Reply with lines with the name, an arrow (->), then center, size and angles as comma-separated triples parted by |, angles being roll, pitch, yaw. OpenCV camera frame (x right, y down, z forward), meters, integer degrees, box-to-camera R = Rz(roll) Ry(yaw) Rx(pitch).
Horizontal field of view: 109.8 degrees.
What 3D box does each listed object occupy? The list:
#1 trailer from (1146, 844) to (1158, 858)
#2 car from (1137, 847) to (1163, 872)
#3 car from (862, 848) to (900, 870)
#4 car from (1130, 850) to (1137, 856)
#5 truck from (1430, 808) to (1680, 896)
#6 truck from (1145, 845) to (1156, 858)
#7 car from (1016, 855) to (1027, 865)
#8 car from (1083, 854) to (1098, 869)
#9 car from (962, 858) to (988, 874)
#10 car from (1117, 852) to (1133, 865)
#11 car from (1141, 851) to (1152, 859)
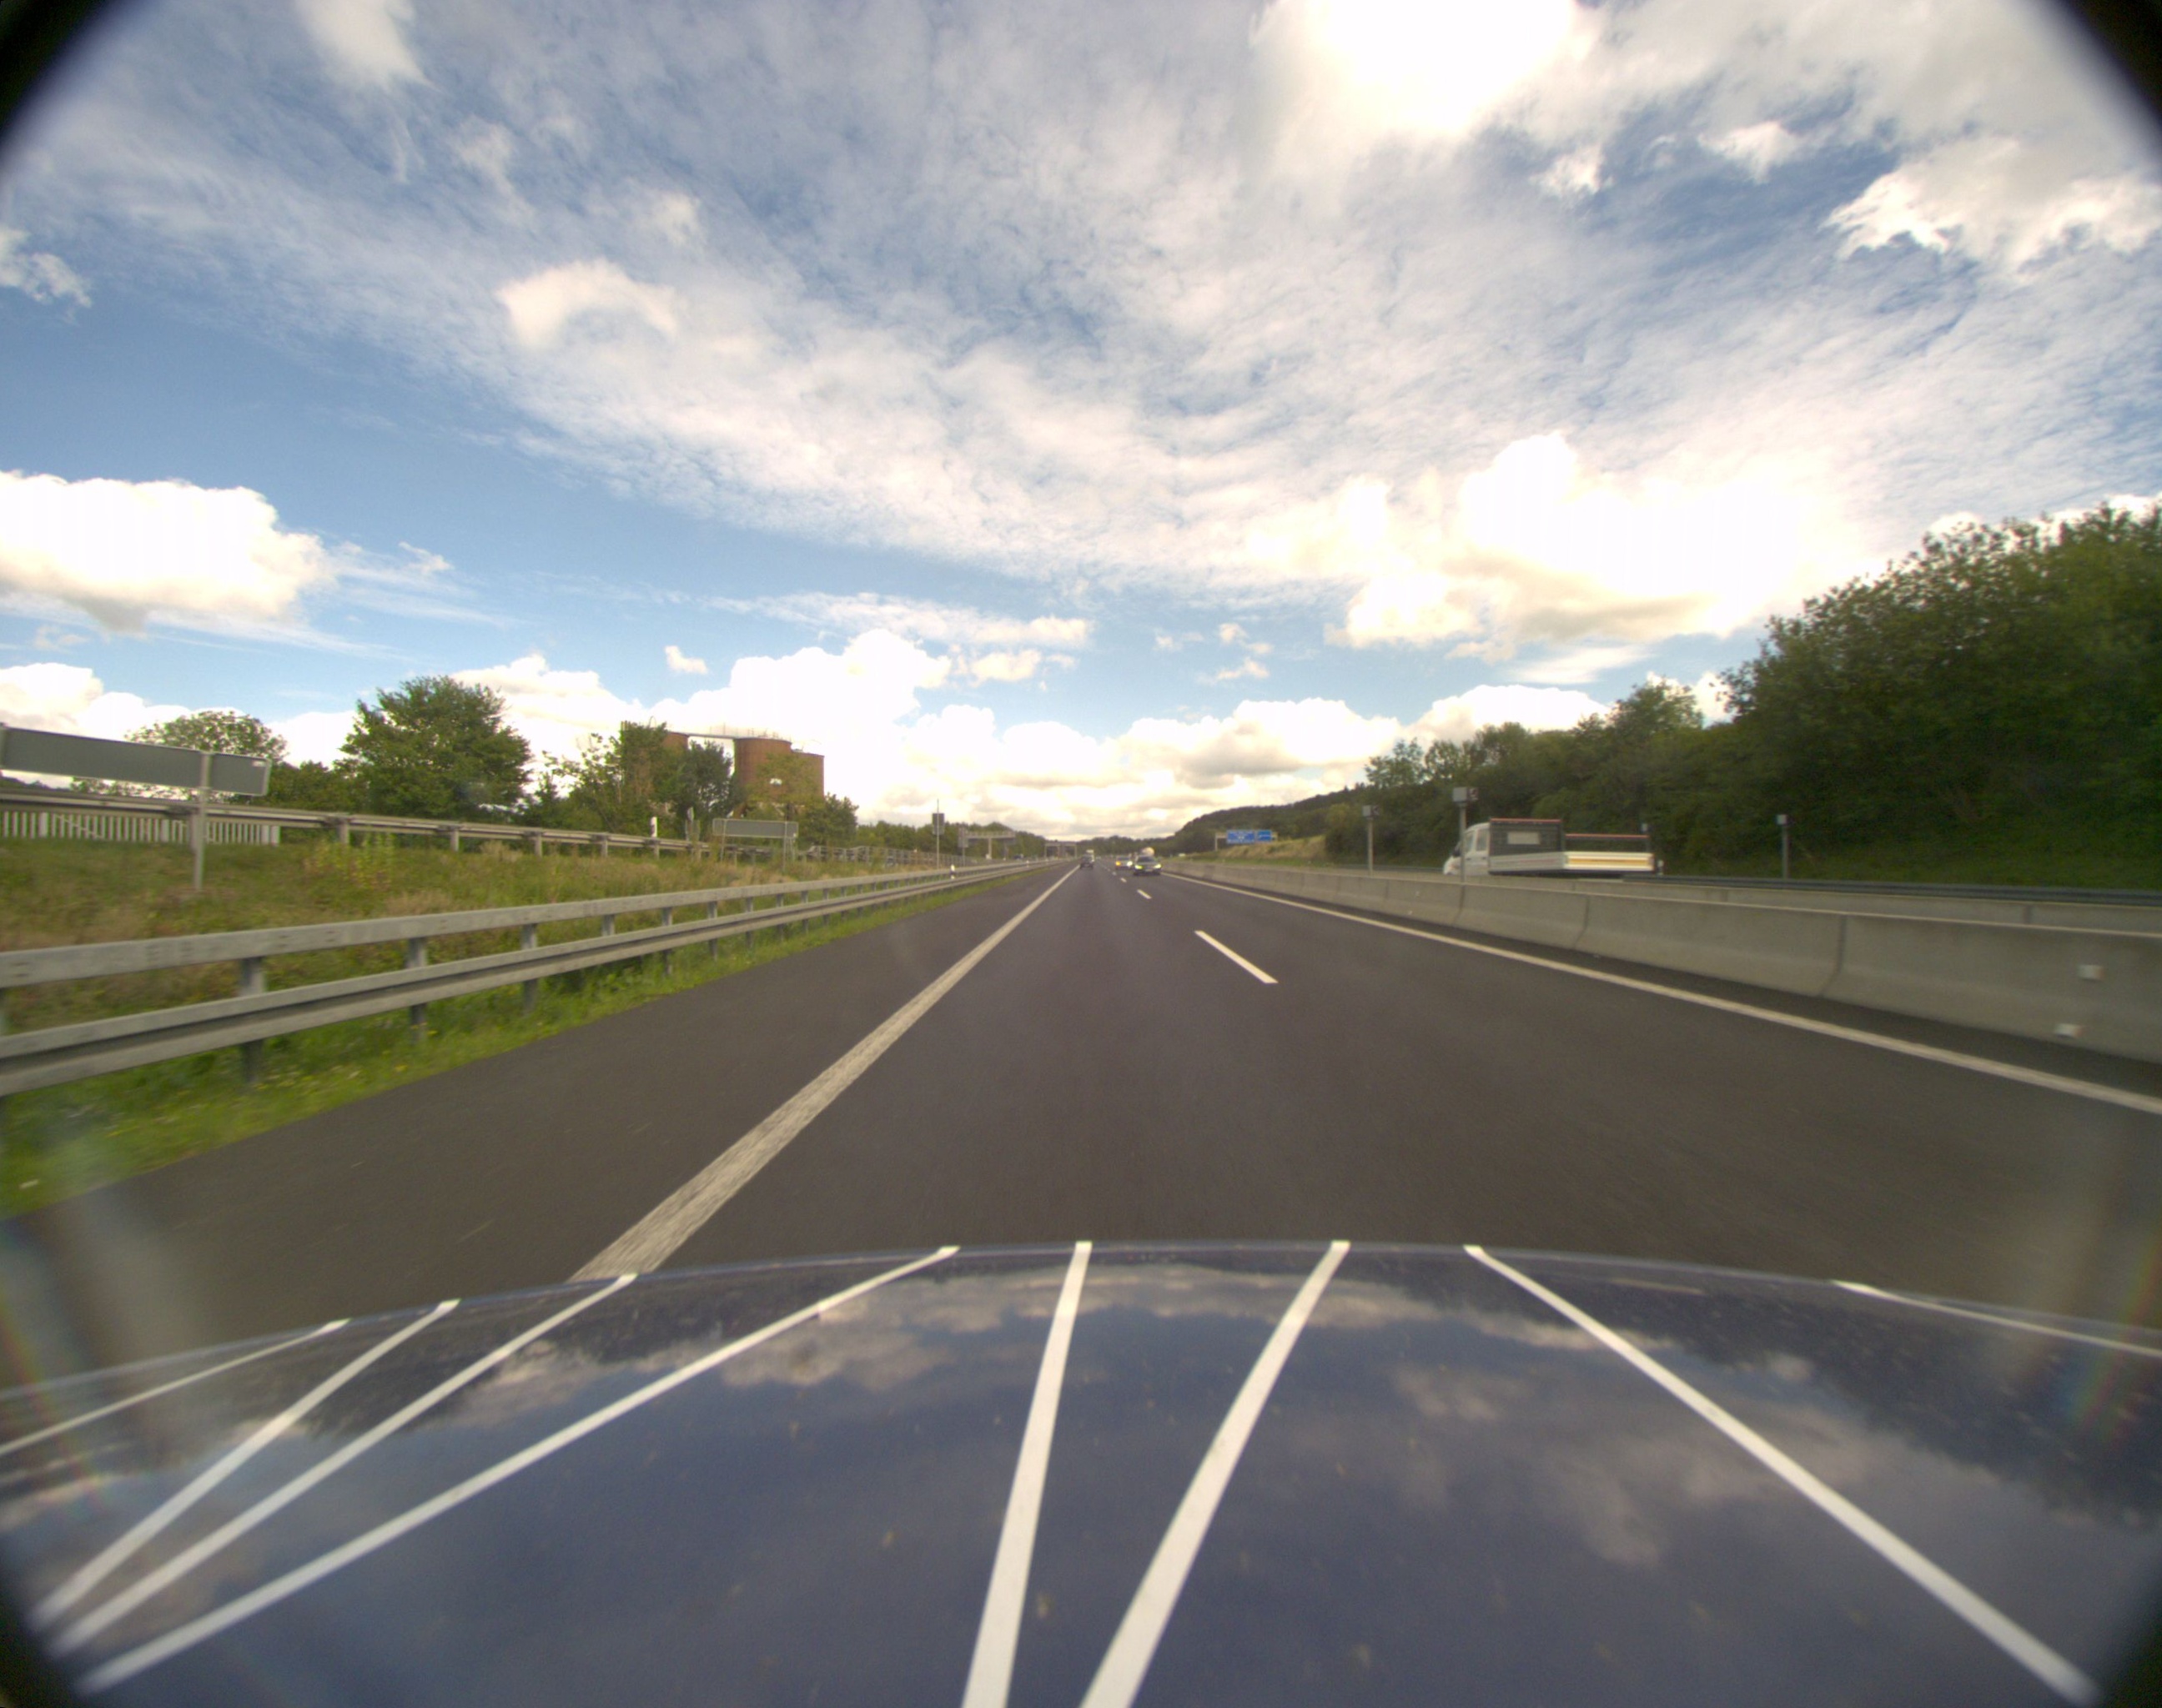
trailer -> 20.185, -0.766, 217.464 | 2.720, 3.864, 11.161 | 0, 0, 2
car -> 5.020, 0.376, 55.797 | 1.724, 1.722, 3.939 | -1, 0, 3
car -> -16.435, 0.380, 62.634 | 1.998, 1.698, 4.000 | 0, 0, 1
car -> 15.285, -0.232, 221.777 | 1.812, 1.821, 4.396 | 0, 0, 2
truck -> 12.571, -0.069, 21.146 | 2.382, 2.002, 7.436 | 0, 0, 1
truck -> 20.348, -0.790, 222.074 | 2.744, 3.901, 6.901 | 0, 1, 2
car -> -13.440, 1.248, 172.426 | 1.998, 2.173, 5.127 | -1, 0, 0
car -> 1.145, 0.883, 93.425 | 1.670, 1.722, 4.207 | -1, 0, 3
car -> -10.611, 1.148, 76.044 | 1.998, 1.476, 4.000 | -1, 0, 0
car -> 4.756, 0.475, 82.770 | 1.724, 1.406, 3.939 | -1, 0, 3
car -> 14.482, 0.177, 168.263 | 1.998, 1.707, 4.000 | 0, 0, 1
